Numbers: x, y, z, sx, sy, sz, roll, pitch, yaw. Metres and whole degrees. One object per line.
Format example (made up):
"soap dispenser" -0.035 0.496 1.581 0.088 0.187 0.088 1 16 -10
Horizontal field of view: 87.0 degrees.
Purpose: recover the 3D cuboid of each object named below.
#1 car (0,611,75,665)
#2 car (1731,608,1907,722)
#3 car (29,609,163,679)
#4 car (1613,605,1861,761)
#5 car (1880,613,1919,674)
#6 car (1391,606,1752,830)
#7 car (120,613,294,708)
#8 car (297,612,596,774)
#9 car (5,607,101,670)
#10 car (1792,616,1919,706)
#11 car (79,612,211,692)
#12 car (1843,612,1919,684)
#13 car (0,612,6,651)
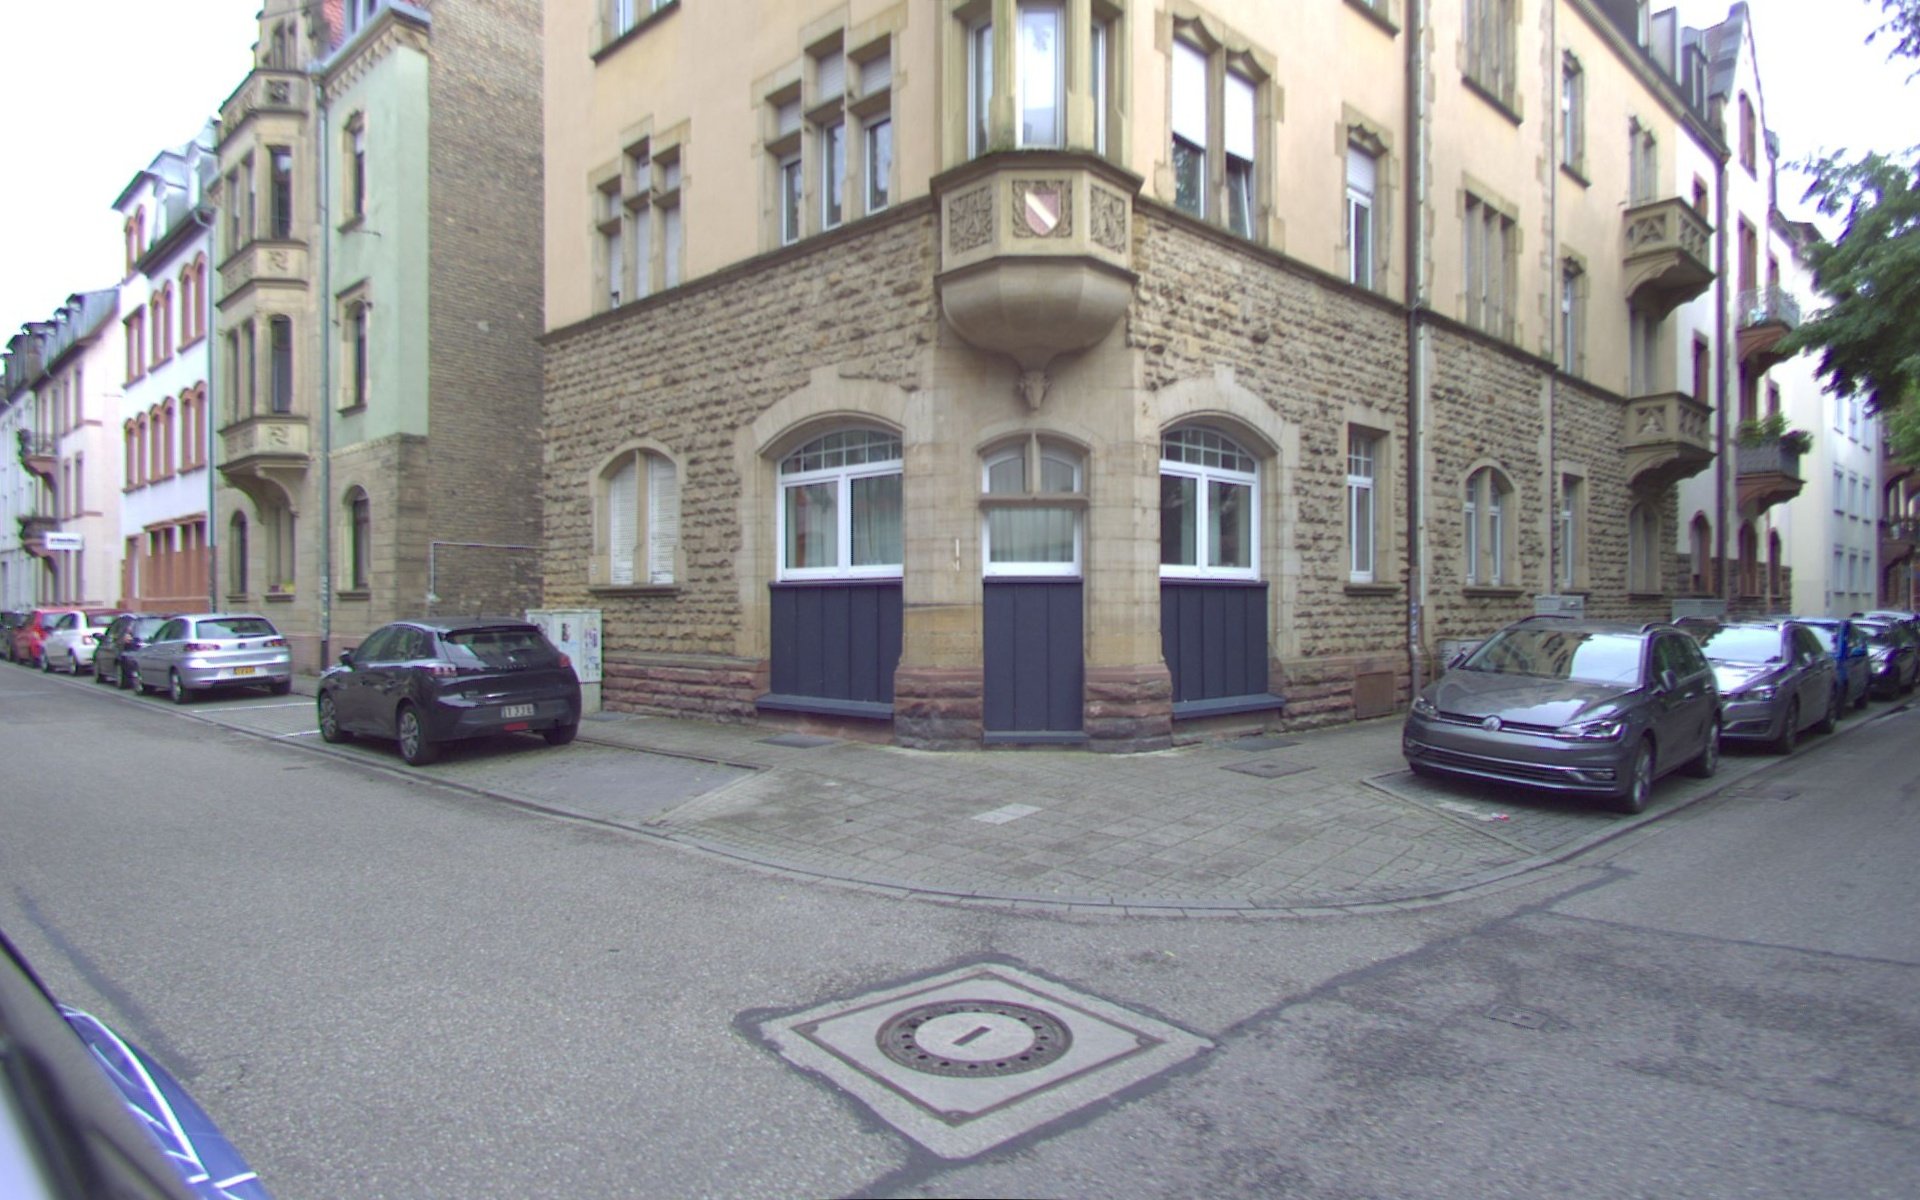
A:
"car" -27.308 1.084 29.707 3.915 1.427 1.450 -1 0 41
"car" 13.538 0.927 15.898 3.339 1.477 1.665 0 3 -43
"car" -20.536 0.997 24.027 3.547 1.522 1.651 -1 0 36
"car" 9.585 0.858 12.353 4.220 1.477 1.665 0 3 -43
"car" 23.936 1.054 24.898 3.459 1.359 1.580 0 3 -43
"car" 5.716 0.851 9.219 4.220 1.477 1.665 0 3 -43
"car" -13.313 0.996 17.812 3.806 1.445 1.573 -1 0 40
"car" -5.866 0.907 11.368 3.880 1.445 1.709 -1 0 42
"car" -24.232 0.993 27.006 3.566 1.542 1.450 -1 0 41
"car" 16.634 1.052 18.599 3.339 1.359 1.580 0 3 -43
"car" -16.679 1.004 20.661 3.453 1.445 1.501 -1 0 41
"car" 20.293 0.997 21.754 3.339 1.359 1.580 0 3 -43
"car" -36.770 1.166 37.334 3.997 1.401 1.880 -1 0 41
